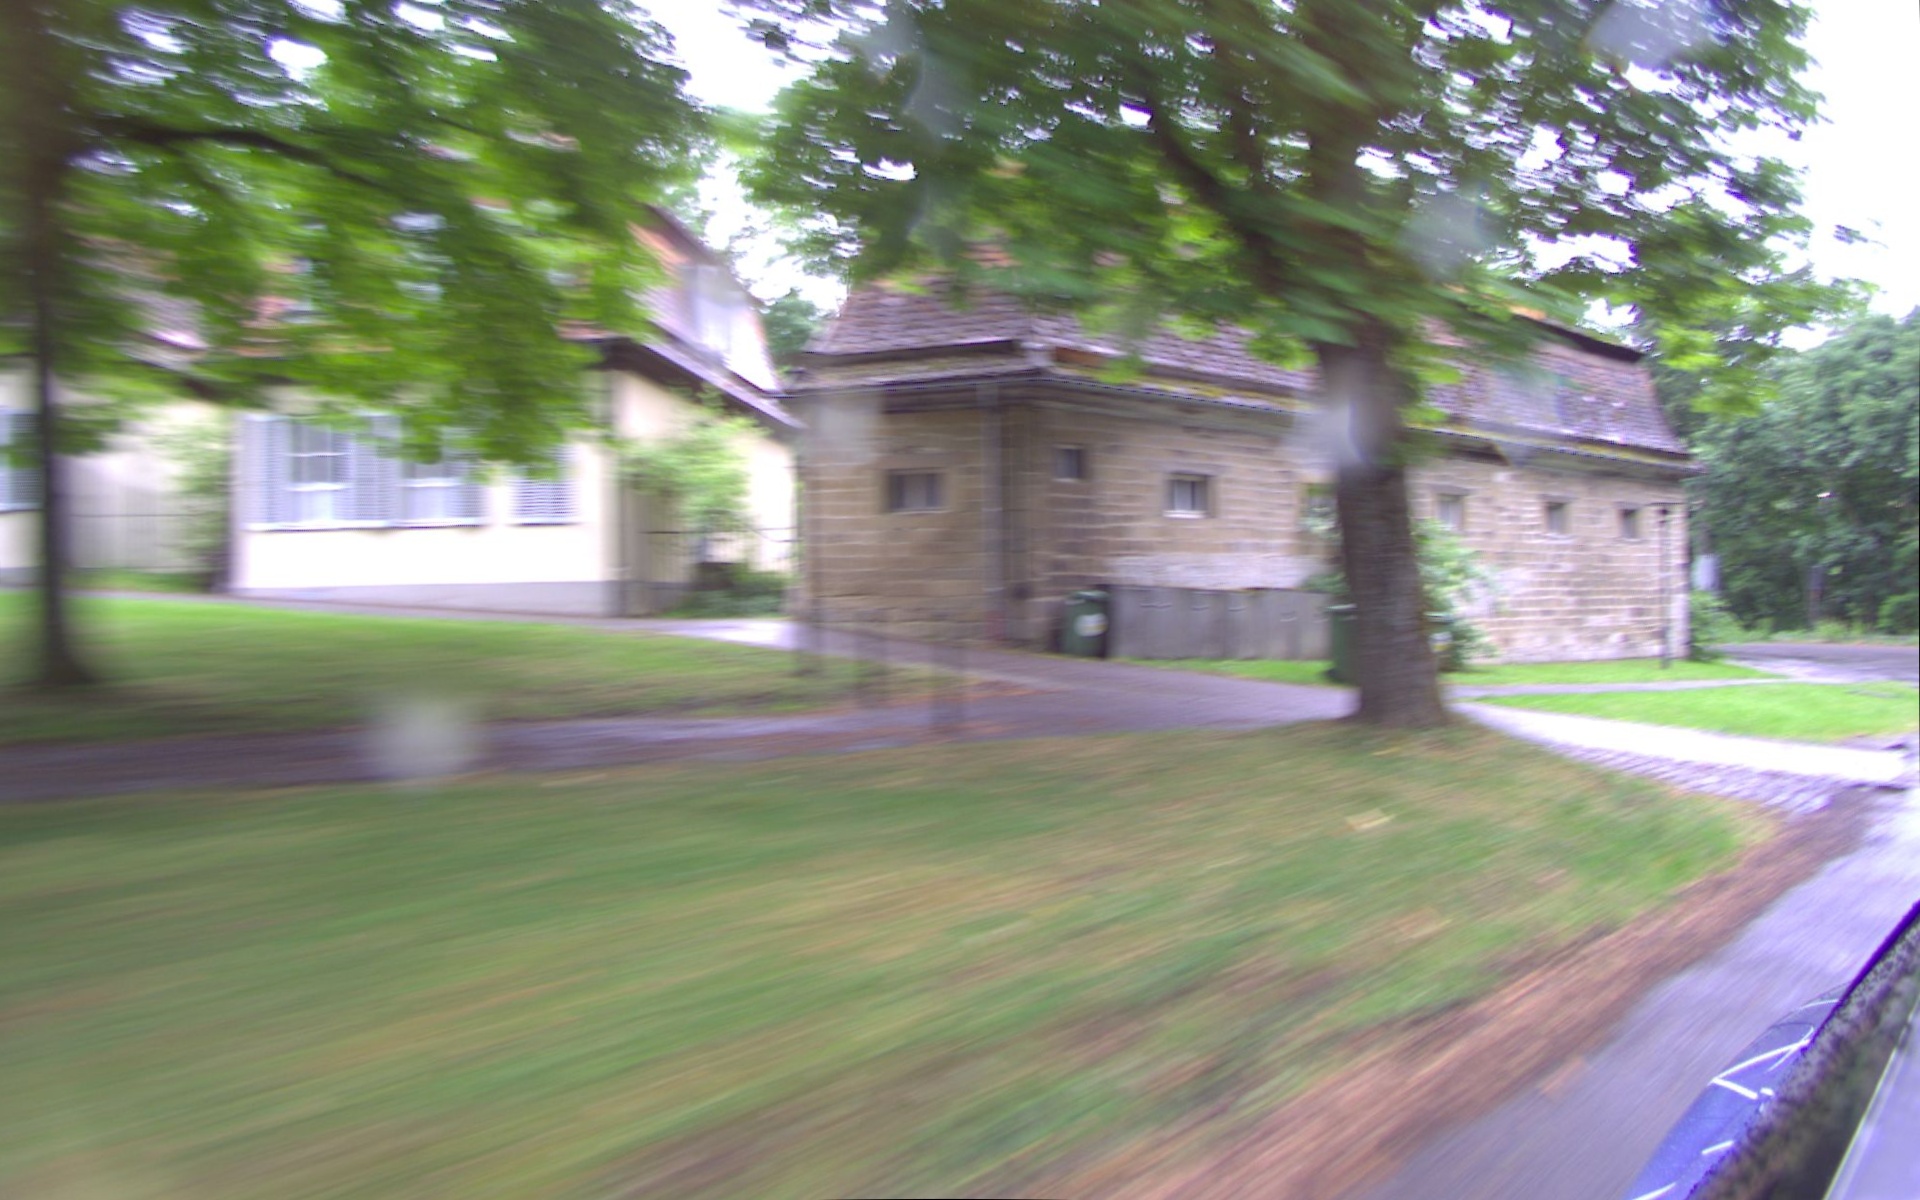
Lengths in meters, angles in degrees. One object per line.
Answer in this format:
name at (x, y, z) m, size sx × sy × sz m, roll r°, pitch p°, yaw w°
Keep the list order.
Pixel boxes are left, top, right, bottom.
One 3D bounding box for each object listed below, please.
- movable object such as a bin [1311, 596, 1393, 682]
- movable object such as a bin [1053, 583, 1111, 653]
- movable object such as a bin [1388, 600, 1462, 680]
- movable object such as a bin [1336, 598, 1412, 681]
movable object such as a bin at (5.254, 0.512, 13.578) m, size 0.647 × 1.051 × 0.699 m, roll 1°, pitch 5°, yaw -31°
movable object such as a bin at (1.728, 0.251, 14.360) m, size 0.523 × 0.917 × 0.554 m, roll 1°, pitch 5°, yaw -31°
movable object such as a bin at (6.768, 0.567, 14.739) m, size 0.564 × 1.051 × 0.699 m, roll 1°, pitch 5°, yaw -31°
movable object such as a bin at (5.742, 0.531, 14.041) m, size 0.564 × 1.051 × 0.699 m, roll 1°, pitch 5°, yaw -31°
